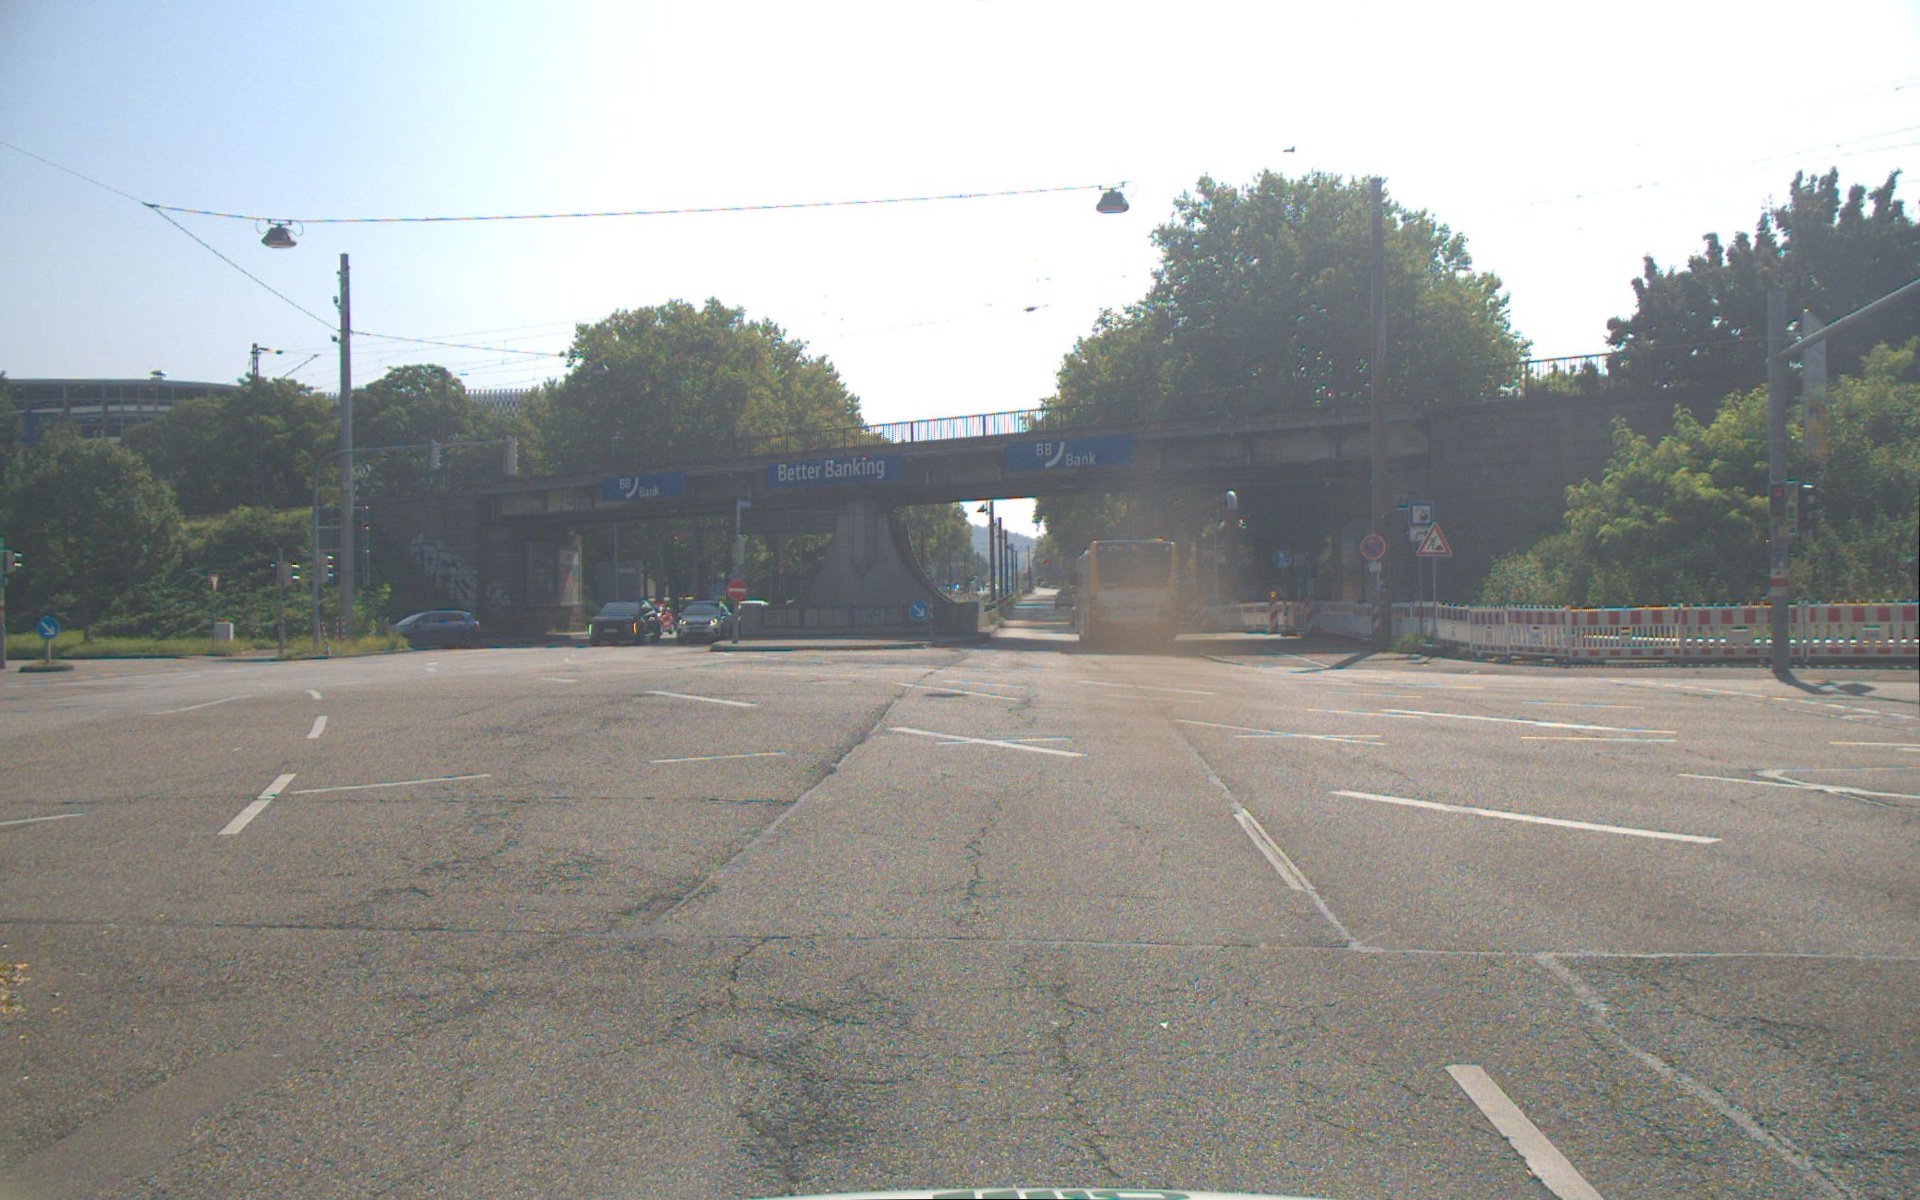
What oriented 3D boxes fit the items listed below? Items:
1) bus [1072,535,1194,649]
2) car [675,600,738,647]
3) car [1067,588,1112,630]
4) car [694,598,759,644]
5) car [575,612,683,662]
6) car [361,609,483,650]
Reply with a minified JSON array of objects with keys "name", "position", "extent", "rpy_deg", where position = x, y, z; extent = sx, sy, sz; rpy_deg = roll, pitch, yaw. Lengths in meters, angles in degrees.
[{"name":"bus","position":[5.234,-0.223,52.296],"extent":[3.069,3.168,12.294],"rpy_deg":[0,0,2]},{"name":"car","position":[-9.087,0.823,59.505],"extent":[1.686,1.565,3.695],"rpy_deg":[-2,0,-1]},{"name":"car","position":[6.578,0.436,84.332],"extent":[1.953,2.049,4.000],"rpy_deg":[1,0,0]},{"name":"car","position":[-9.023,0.780,64.188],"extent":[1.953,1.600,4.347],"rpy_deg":[0,2,-1]},{"name":"car","position":[-12.025,1.322,60.378],"extent":[1.861,1.645,4.477],"rpy_deg":[-2,-1,18]},{"name":"car","position":[-20.074,1.106,61.752],"extent":[1.757,1.453,3.971],"rpy_deg":[1,0,45]}]
